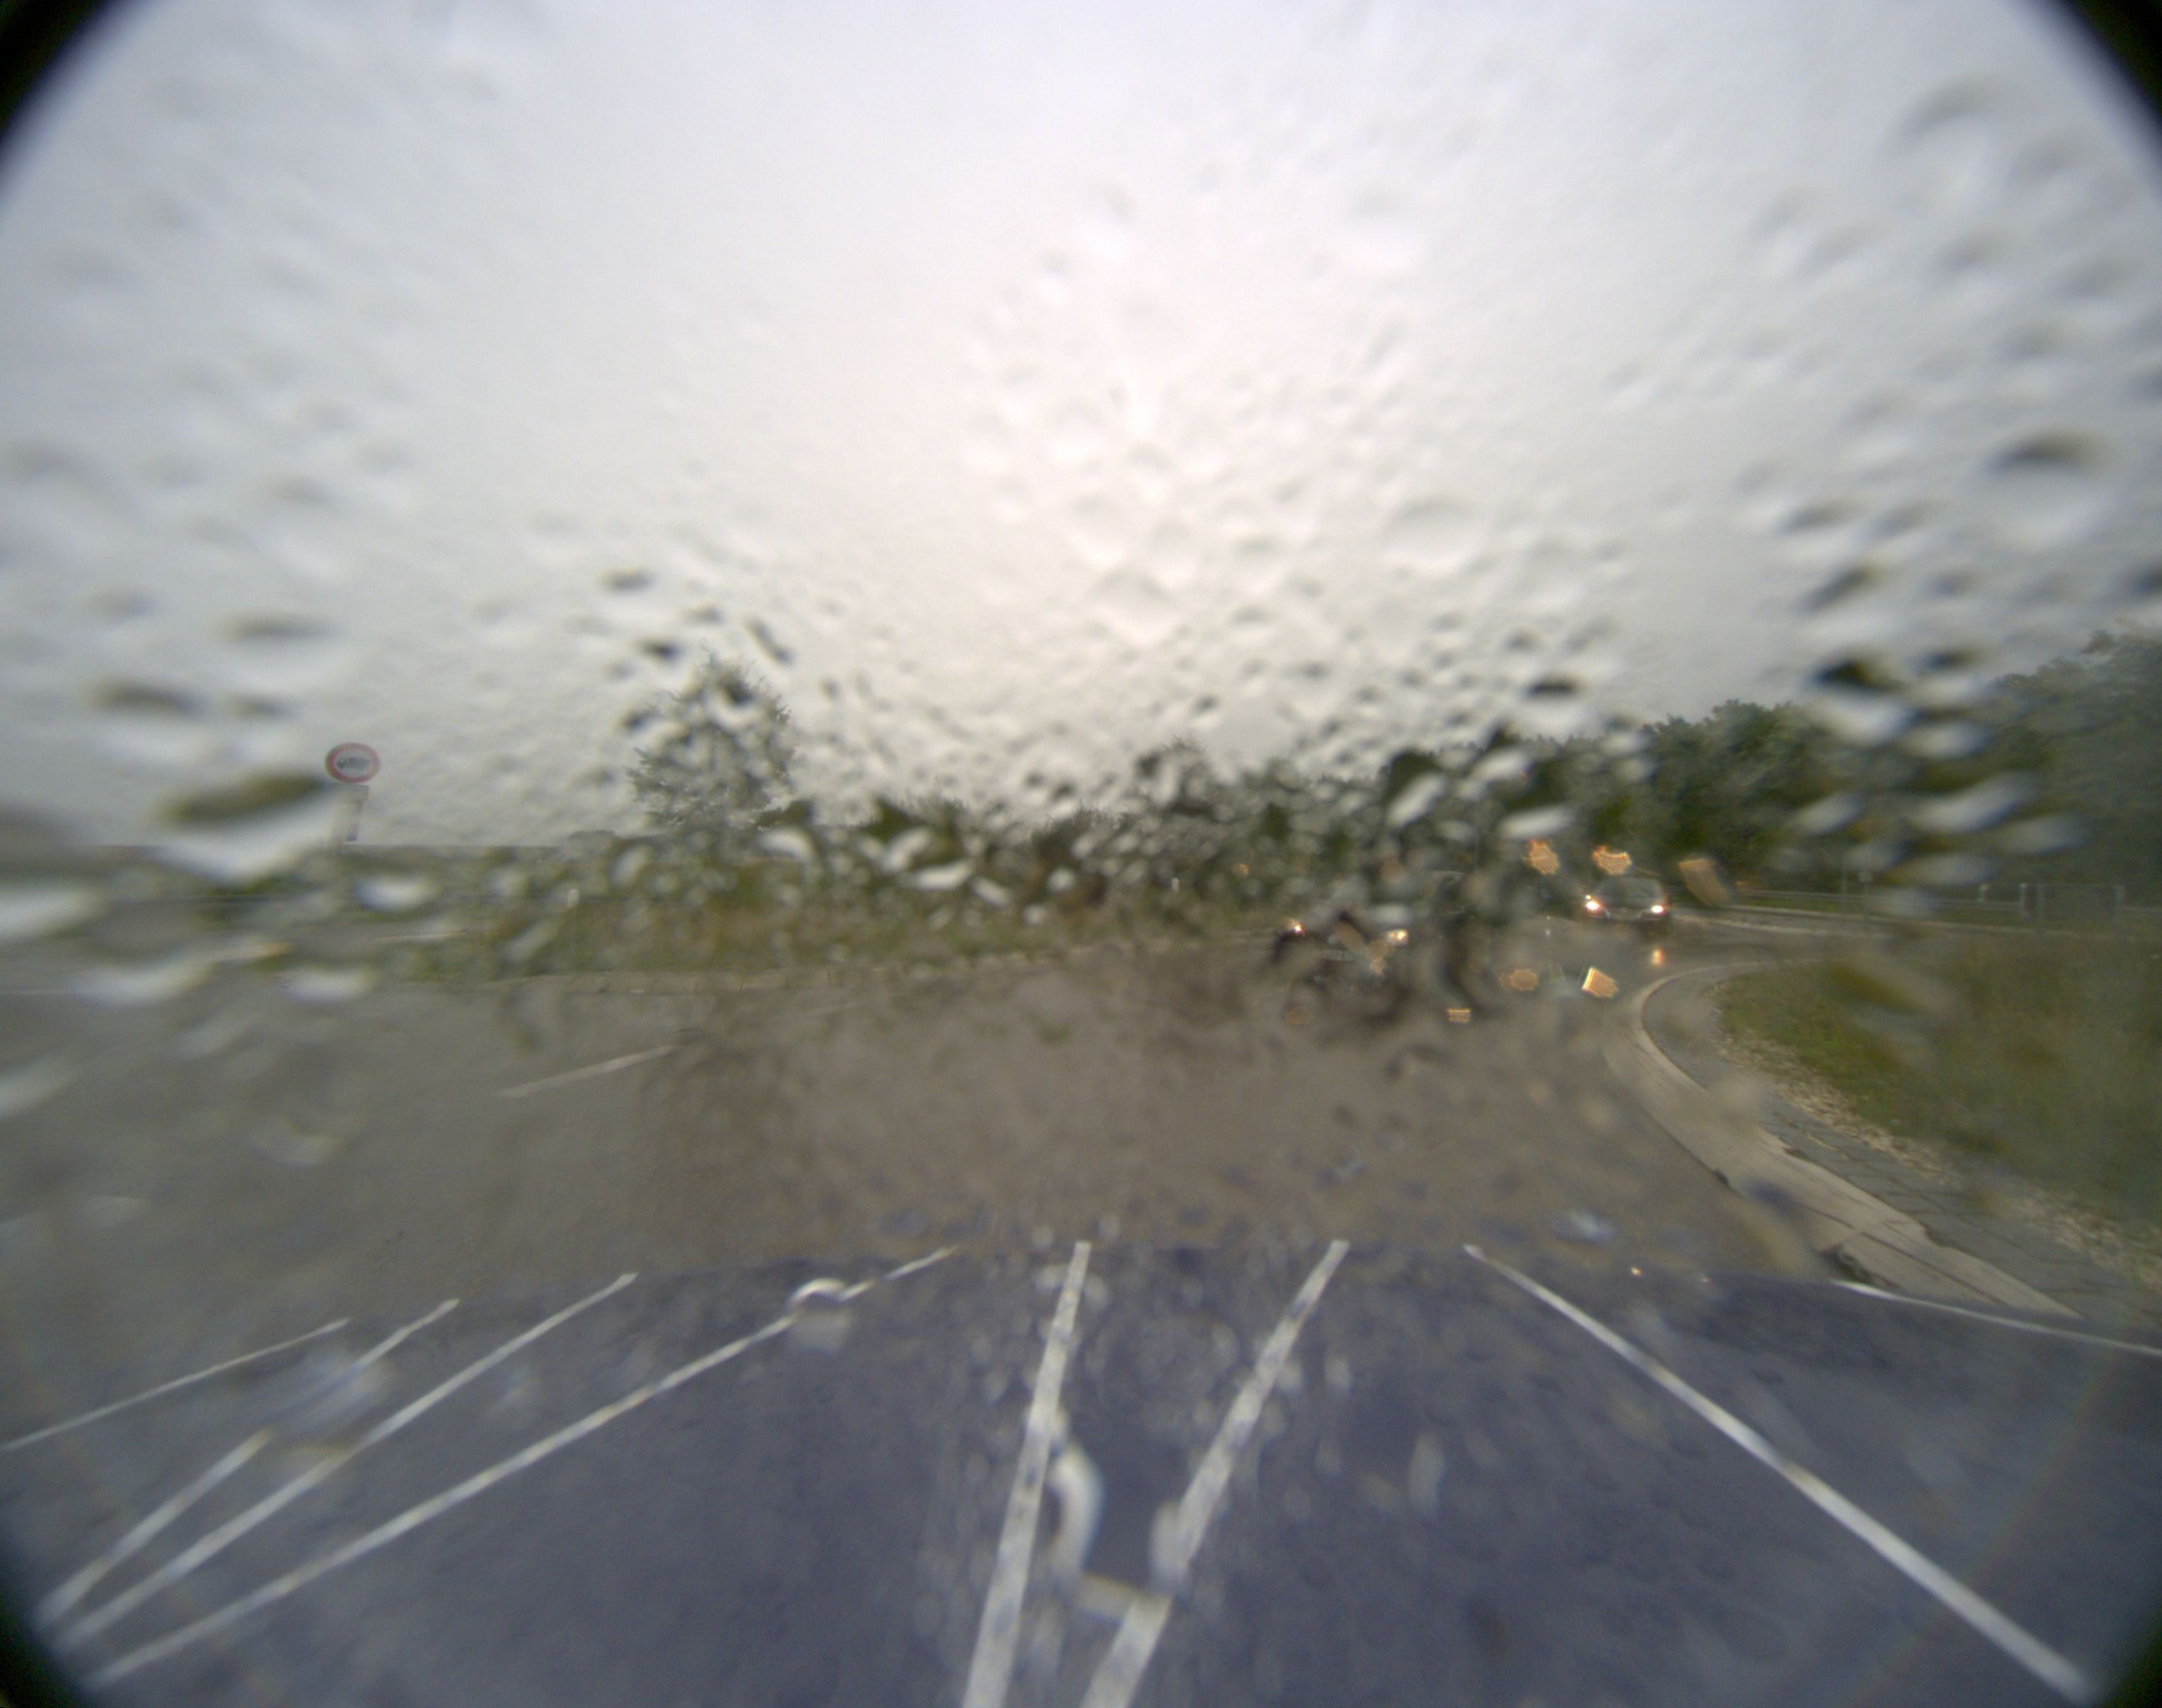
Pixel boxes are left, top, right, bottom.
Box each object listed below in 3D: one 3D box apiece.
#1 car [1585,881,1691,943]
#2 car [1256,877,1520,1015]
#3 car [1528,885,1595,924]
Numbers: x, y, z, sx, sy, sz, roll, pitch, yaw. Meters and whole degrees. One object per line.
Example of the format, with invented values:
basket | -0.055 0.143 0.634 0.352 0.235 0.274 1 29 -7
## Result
car | 14.361 1.423 19.815 1.944 1.363 4.514 1 -1 33
car | 4.393 1.049 10.420 1.869 1.412 4.514 1 0 42
car | 20.226 2.064 32.134 1.760 1.412 4.513 2 -1 24
